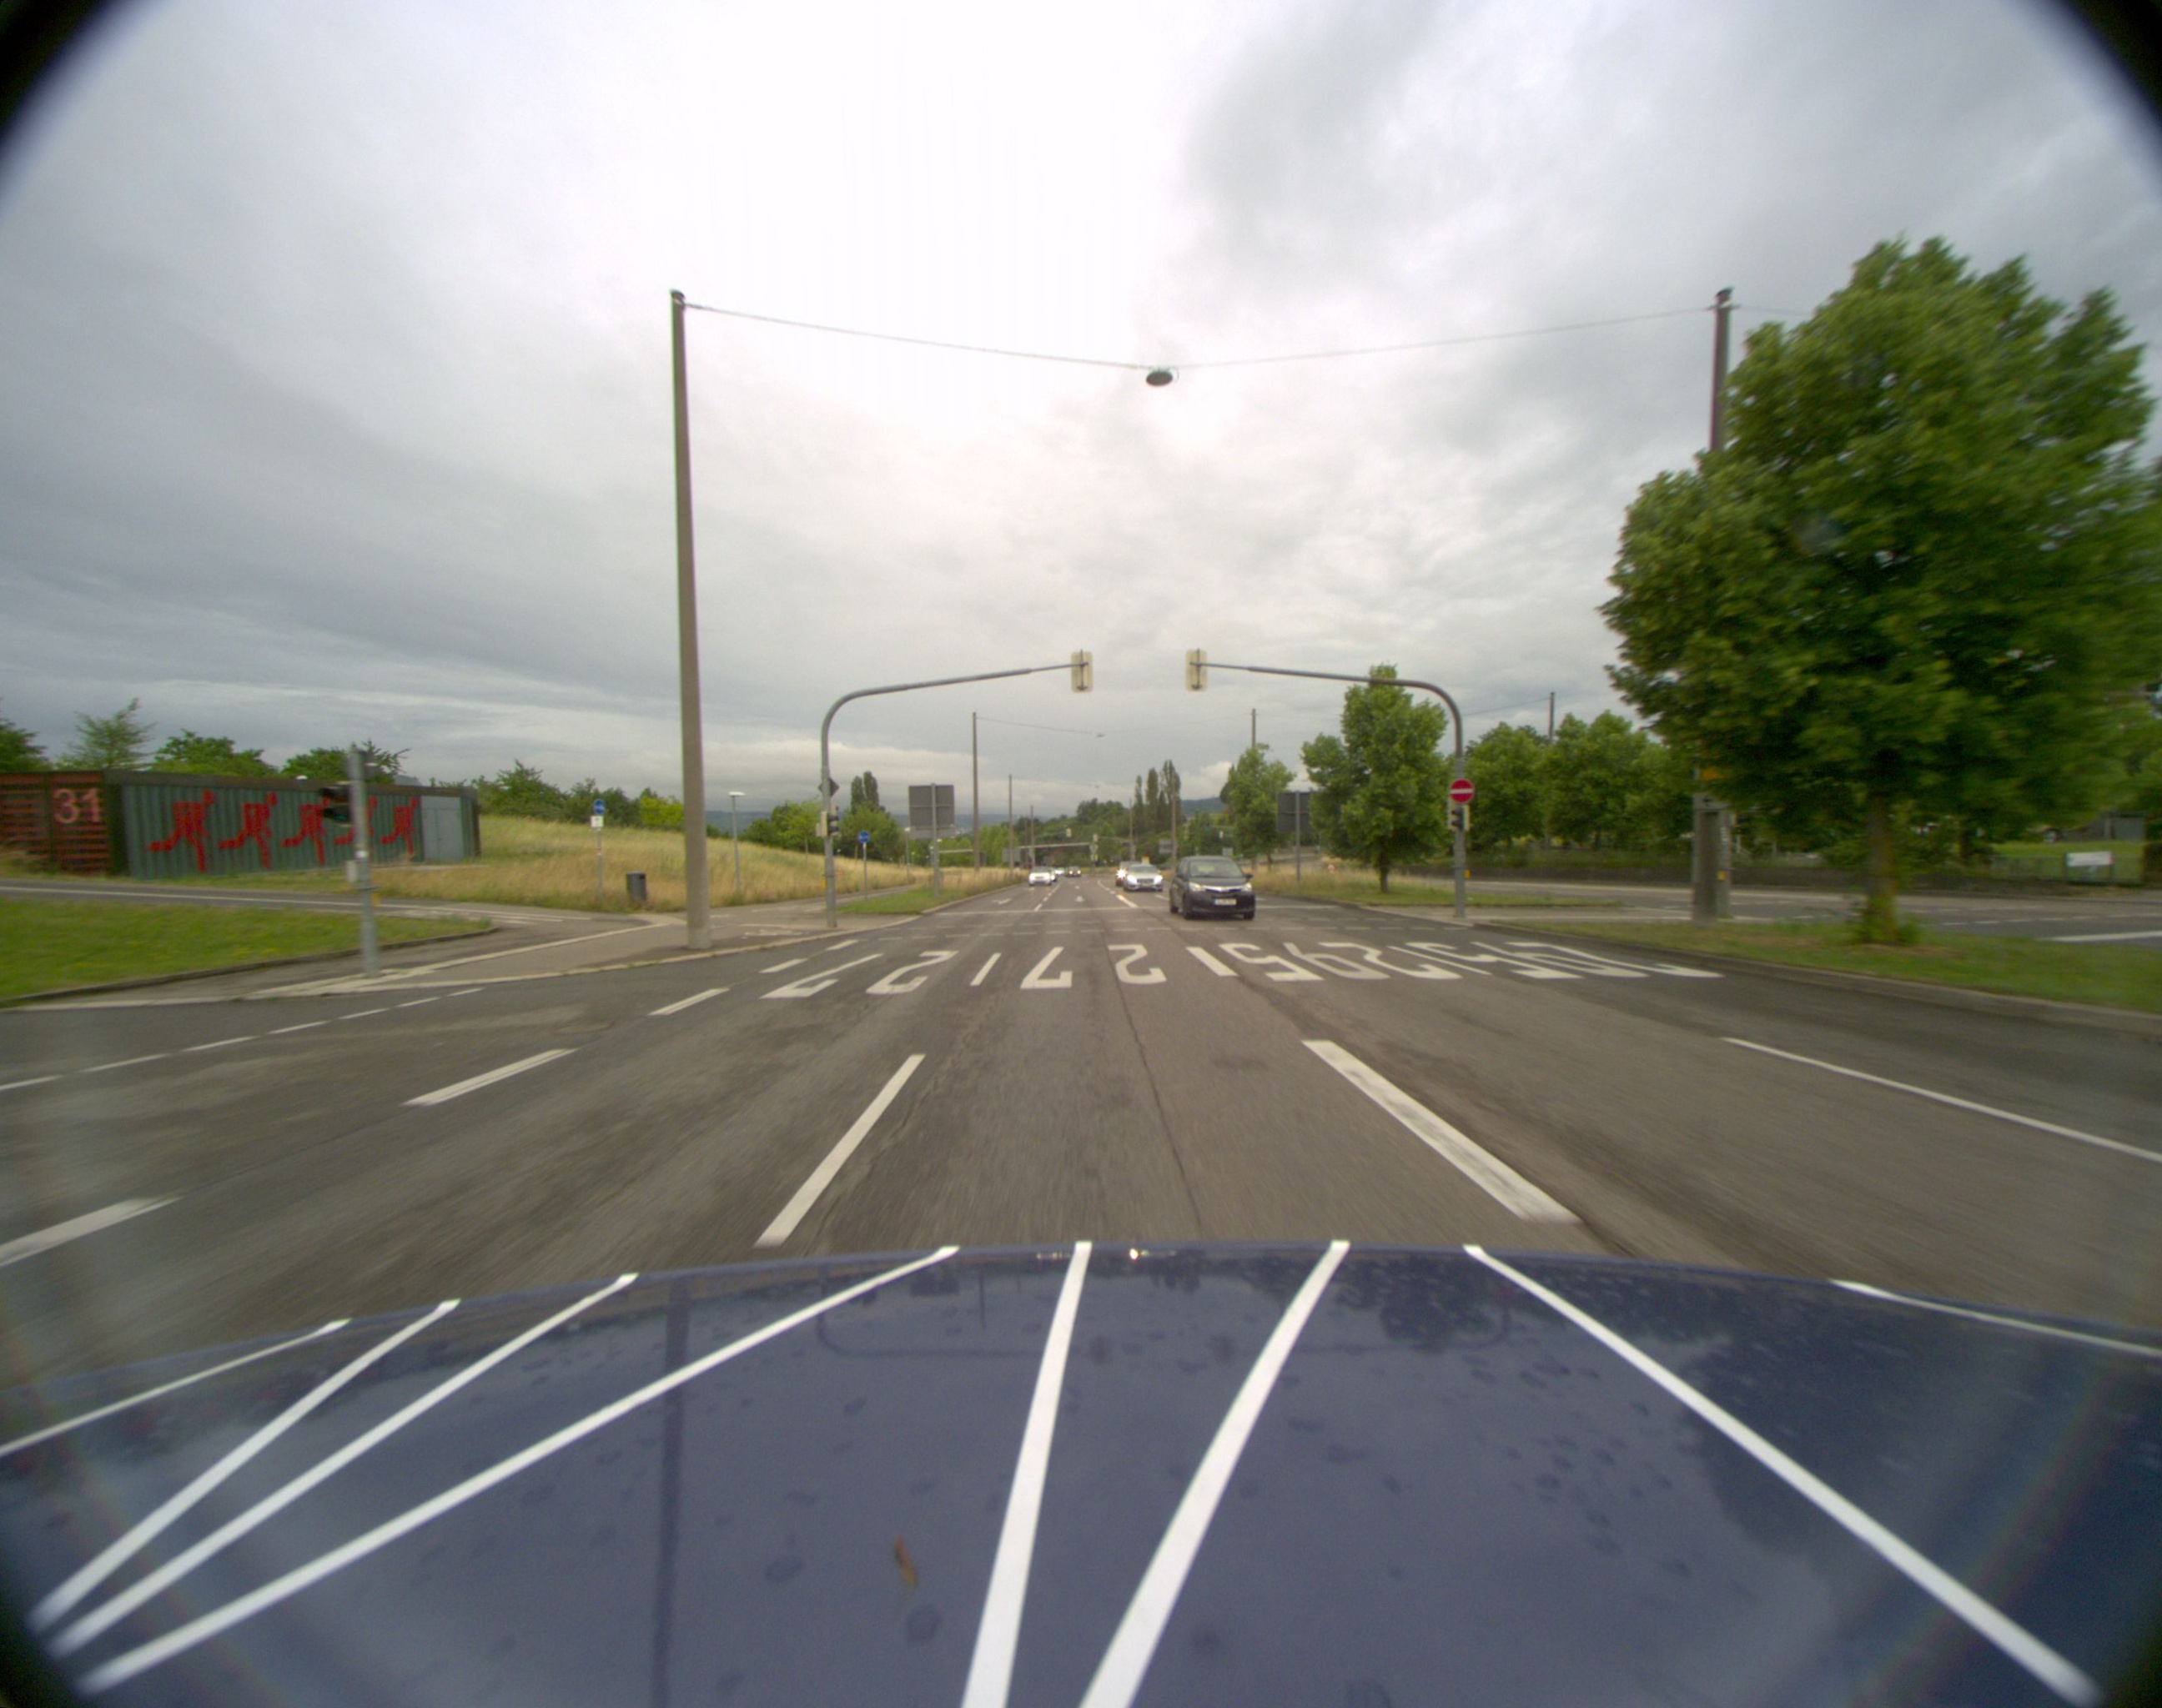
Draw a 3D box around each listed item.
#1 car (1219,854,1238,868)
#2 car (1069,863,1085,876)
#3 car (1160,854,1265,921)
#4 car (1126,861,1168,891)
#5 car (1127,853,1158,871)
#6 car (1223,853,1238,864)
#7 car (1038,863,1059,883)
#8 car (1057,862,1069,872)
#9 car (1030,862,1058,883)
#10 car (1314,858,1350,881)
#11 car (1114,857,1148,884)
[{"bbox_3d":[22.396,1.036,115.294,1.996,2.001,4.007,-4,-2,21],"label":"car"},{"bbox_3d":[-0.636,2.228,111.417,1.999,1.632,4.626,-4,0,-4],"label":"car"},{"bbox_3d":[3.303,0.849,19.819,1.801,1.556,4.042,1,-1,-4],"label":"car"},{"bbox_3d":[3.458,1.110,40.047,1.998,1.399,4.526,-3,-1,4],"label":"car"},{"bbox_3d":[7.717,0.963,94.726,1.995,2.001,4.008,-5,-2,35],"label":"car"},{"bbox_3d":[27.299,0.834,138.460,1.996,2.001,4.007,-2,-2,21],"label":"car"},{"bbox_3d":[-3.203,1.812,74.958,1.843,1.532,3.815,-5,3,0],"label":"car"},{"bbox_3d":[-3.361,2.411,141.790,1.999,1.632,4.626,-4,0,-4],"label":"car"},{"bbox_3d":[-2.940,1.465,61.304,1.725,1.513,4.229,-1,0,4],"label":"car"},{"bbox_3d":[22.498,1.360,68.217,1.998,2.002,4.000,0,0,1],"label":"car"},{"bbox_3d":[3.271,1.066,50.446,1.927,1.725,4.026,2,0,0],"label":"car"}]
